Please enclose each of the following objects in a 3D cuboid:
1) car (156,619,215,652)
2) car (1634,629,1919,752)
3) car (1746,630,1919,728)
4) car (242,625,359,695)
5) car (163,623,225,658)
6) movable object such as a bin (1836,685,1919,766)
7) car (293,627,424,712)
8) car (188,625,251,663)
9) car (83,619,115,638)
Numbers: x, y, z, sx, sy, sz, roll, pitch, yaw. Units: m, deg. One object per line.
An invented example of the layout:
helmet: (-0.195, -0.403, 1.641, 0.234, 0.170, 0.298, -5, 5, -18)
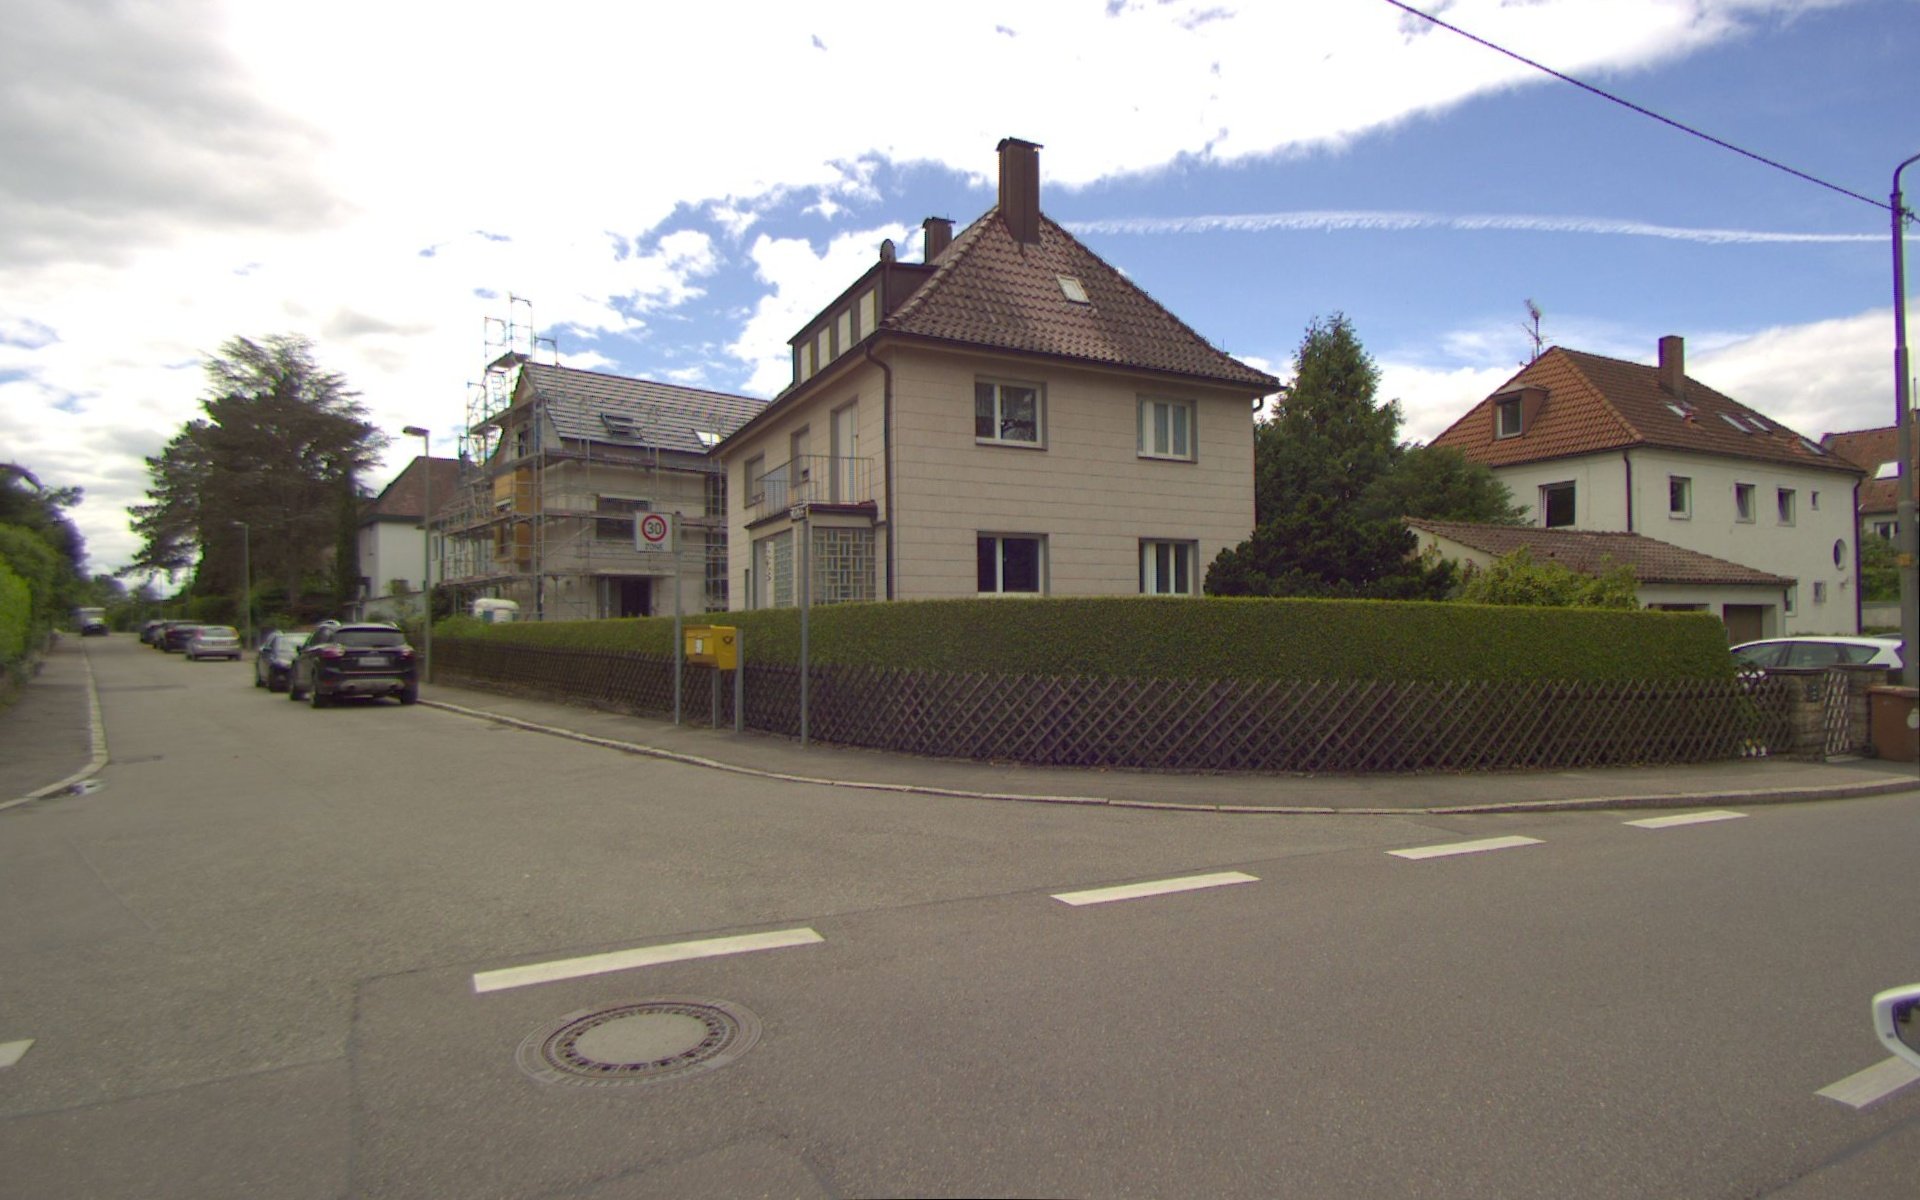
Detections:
car: (-43.662, 1.993, 56.611, 3.945, 1.750, 1.989, -1, -3, 43)
car: (13.536, 1.354, 16.318, 1.697, 1.615, 3.971, 2, 0, -27)
car: (18.046, 1.504, 19.004, 1.859, 1.692, 4.652, 2, 0, -27)
car: (-16.992, 1.486, 25.802, 1.858, 1.661, 3.950, 3, -3, -43)
car: (-39.056, 2.045, 51.215, 1.987, 1.694, 3.947, 3, -3, -45)
movable object such as a bin: (11.855, 1.597, 12.921, 0.563, 0.966, 0.687, 1, -2, -21)
car: (-12.792, 1.412, 21.260, 1.880, 1.618, 3.956, 1, -3, -39)
car: (-31.753, 1.854, 43.051, 1.729, 1.550, 3.950, 3, -3, -43)
car: (-76.695, 2.552, 89.428, 3.945, 1.618, 1.739, -1, -3, 43)
